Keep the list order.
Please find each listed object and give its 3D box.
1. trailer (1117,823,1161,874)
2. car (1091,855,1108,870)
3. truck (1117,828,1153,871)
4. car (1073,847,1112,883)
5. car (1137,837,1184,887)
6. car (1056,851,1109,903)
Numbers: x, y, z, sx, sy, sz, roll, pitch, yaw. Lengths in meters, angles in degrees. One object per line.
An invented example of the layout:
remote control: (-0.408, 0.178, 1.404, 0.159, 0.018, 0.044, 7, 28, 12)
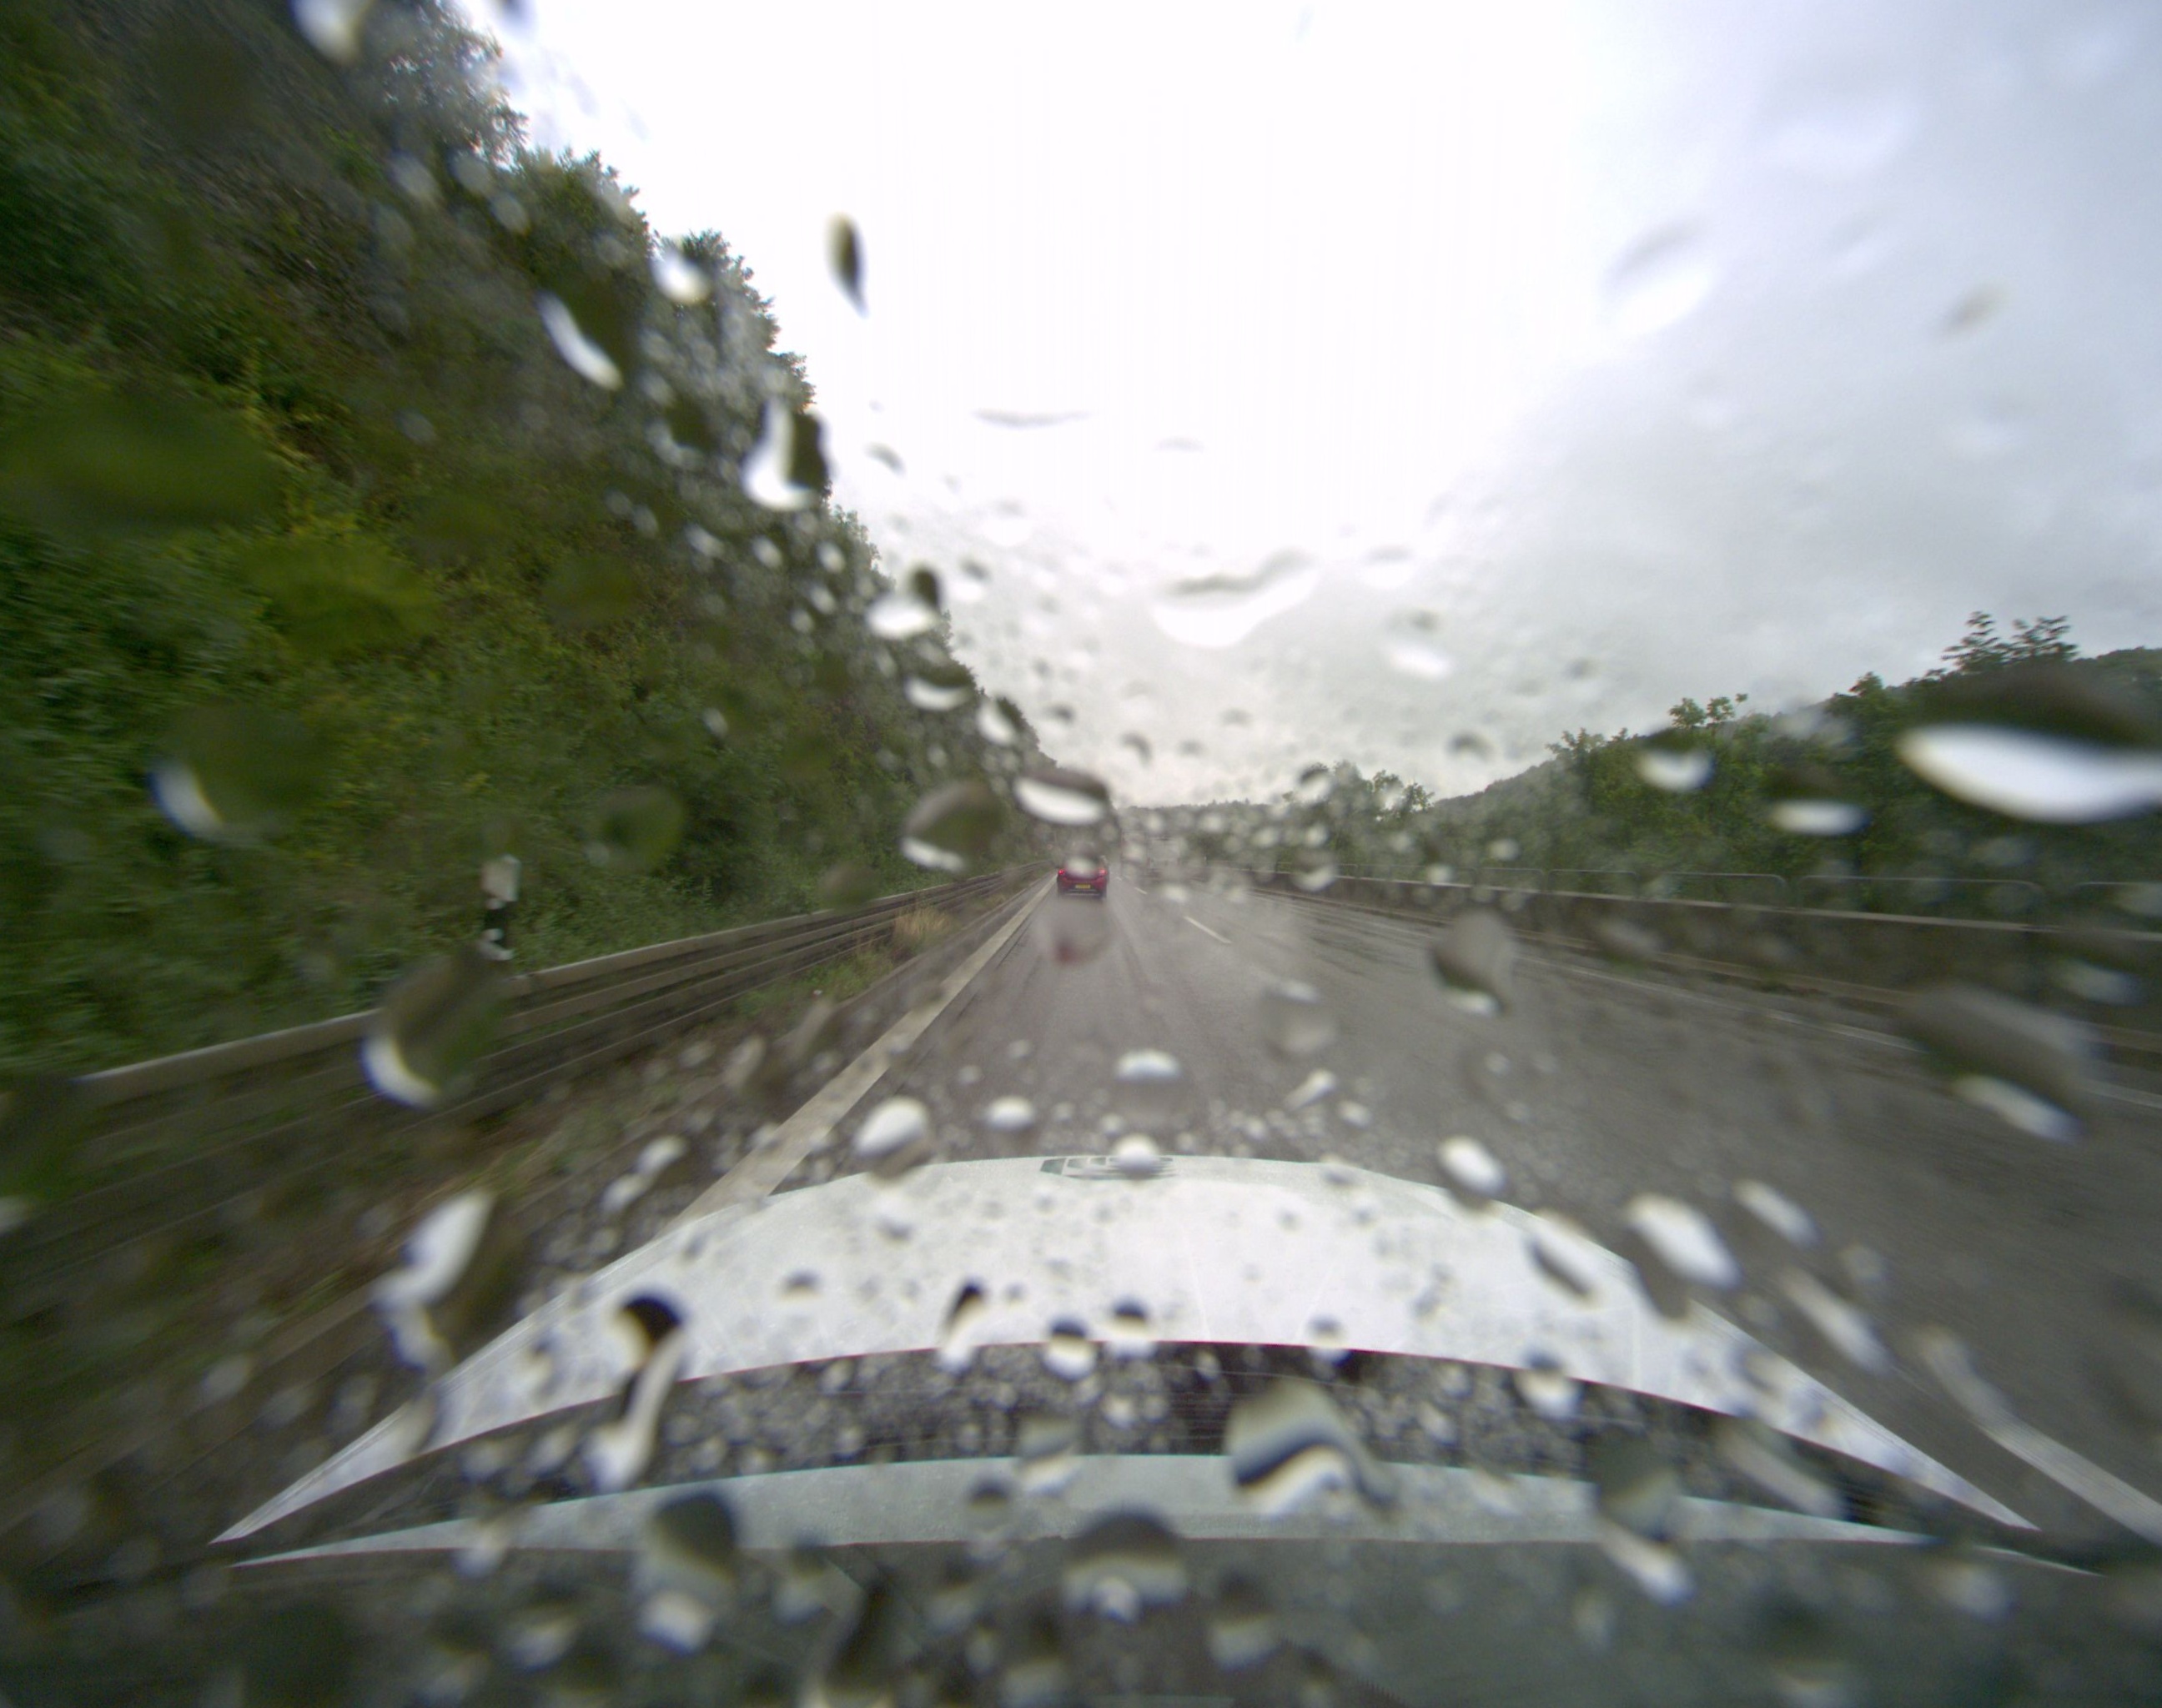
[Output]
trailer: (4.896, -0.401, 71.136, 3.206, 3.999, 13.527, 1, 0, 1)
car: (2.219, 1.029, 96.716, 1.986, 1.639, 4.001, -1, -1, 2)
truck: (5.094, -0.380, 78.189, 3.208, 3.978, 5.440, 1, -1, 2)
car: (0.576, 0.549, 40.554, 1.827, 1.715, 3.644, -1, -1, 0)
car: (4.856, 0.492, 50.562, 2.198, 2.794, 7.383, 2, 0, 1)
car: (0.053, 0.796, 29.320, 1.752, 1.685, 3.999, -1, -1, 0)
